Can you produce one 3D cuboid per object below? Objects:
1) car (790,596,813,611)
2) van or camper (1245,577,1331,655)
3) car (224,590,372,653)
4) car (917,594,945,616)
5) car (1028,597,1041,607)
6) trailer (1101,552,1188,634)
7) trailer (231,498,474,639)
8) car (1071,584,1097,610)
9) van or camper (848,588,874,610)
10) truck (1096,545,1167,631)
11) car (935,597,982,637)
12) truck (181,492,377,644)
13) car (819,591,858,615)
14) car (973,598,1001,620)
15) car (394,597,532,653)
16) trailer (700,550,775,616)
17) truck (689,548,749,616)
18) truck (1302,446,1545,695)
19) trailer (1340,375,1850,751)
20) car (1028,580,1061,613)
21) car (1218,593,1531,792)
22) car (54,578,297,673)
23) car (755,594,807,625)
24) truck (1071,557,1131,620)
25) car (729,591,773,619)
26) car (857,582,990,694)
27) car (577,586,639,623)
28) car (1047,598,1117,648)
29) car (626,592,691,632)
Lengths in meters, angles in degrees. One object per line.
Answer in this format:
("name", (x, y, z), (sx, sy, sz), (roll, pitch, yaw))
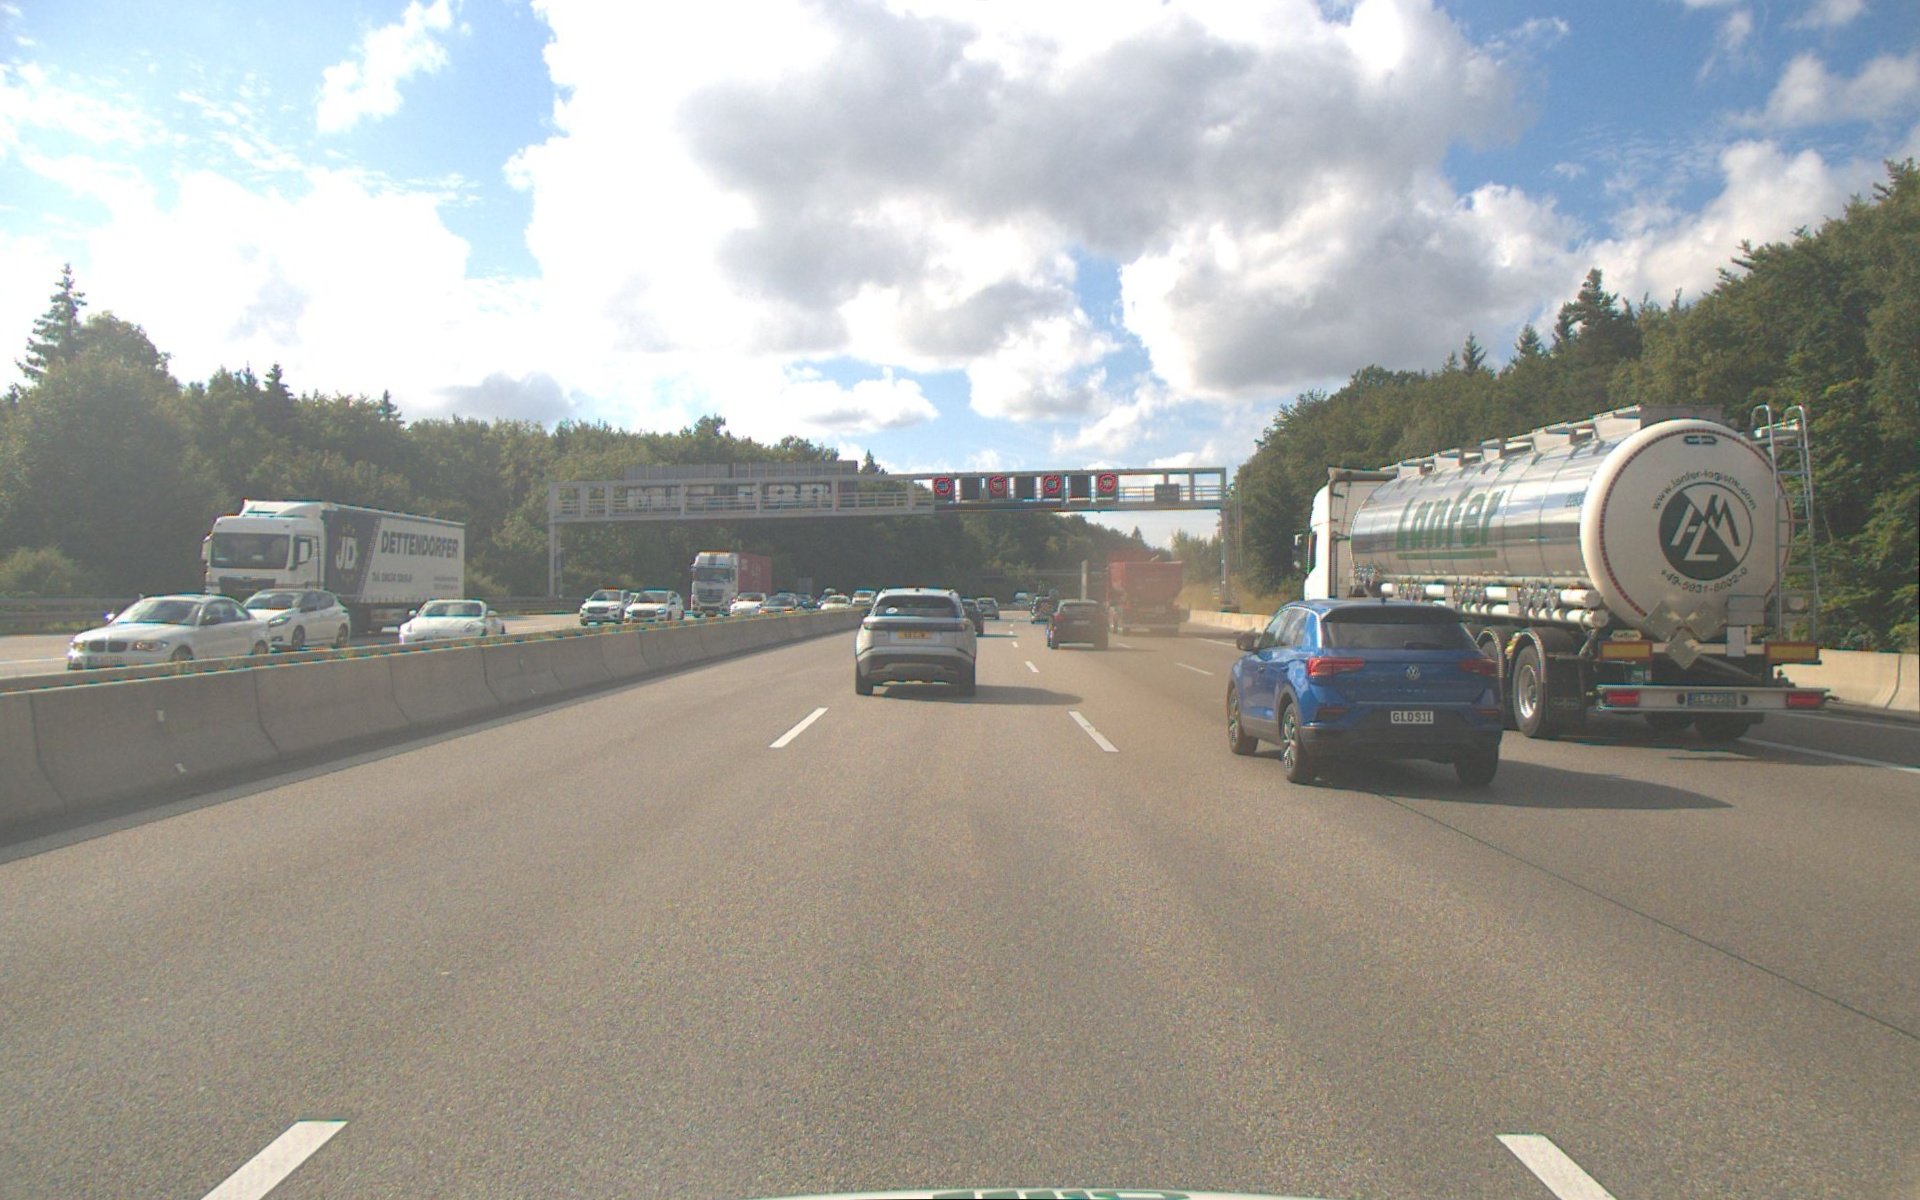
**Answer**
("car", (-16.147, 0.318, 168.704), (1.666, 1.466, 4.709), (1, 0, 2))
("van or camper", (10.253, 0.469, 52.064), (1.785, 2.348, 4.939), (0, 0, 1))
("car", (-16.387, 0.498, 41.231), (1.774, 1.478, 4.800), (1, 0, -1))
("car", (-2.022, 0.310, 115.308), (1.902, 1.483, 4.000), (-1, 0, 0))
("car", (11.097, 0.281, 246.502), (2.033, 1.483, 4.001), (-1, 0, 2))
("trailer", (7.907, -0.315, 72.023), (2.654, 3.288, 9.732), (1, 0, 0))
("trailer", (-20.112, -0.953, 56.150), (3.250, 4.178, 14.151), (0, 0, -1))
("car", (9.328, -0.214, 124.688), (1.854, 1.889, 4.102), (1, 0, 3))
("van or camper", (-8.927, -0.091, 149.385), (1.823, 1.882, 5.156), (1, 0, 2))
("truck", (7.897, -0.562, 76.902), (2.654, 3.783, 5.817), (1, 0, 0))
("car", (-0.033, 0.657, 67.056), (1.784, 1.573, 4.001), (0, 0, 1))
("truck", (-19.965, -0.907, 48.934), (3.250, 4.178, 6.224), (0, 0, -1))
("car", (-7.697, 0.183, 105.174), (1.733, 1.467, 4.853), (1, 0, 4))
("car", (1.867, 0.644, 113.954), (1.784, 1.483, 4.001), (1, 0, 2))
("car", (-11.395, 0.540, 38.203), (1.774, 1.181, 4.515), (1, 0, 1))
("trailer", (-14.838, -1.116, 111.504), (2.682, 4.178, 13.421), (0, 0, 2))
("truck", (-15.135, -1.102, 104.112), (2.682, 4.178, 5.766), (0, 0, 2))
("truck", (7.883, -0.476, 28.923), (2.594, 3.890, 6.082), (0, 0, 1))
("trailer", (7.855, -0.404, 22.833), (2.594, 3.833, 11.861), (0, 0, 1))
("car", (5.007, -0.207, 97.903), (1.854, 1.889, 4.102), (1, 0, 3))
("car", (3.631, 0.724, 15.309), (1.737, 1.557, 4.457), (0, 0, -1))
("car", (-12.911, 0.382, 27.570), (1.646, 1.421, 4.716), (0, 0, 2))
("car", (-8.580, 0.432, 79.660), (1.952, 1.386, 4.620), (1, 0, 0))
("truck", (9.437, -0.765, 111.846), (3.055, 4.003, 10.409), (0, 0, -1))
("car", (-11.937, 0.273, 94.627), (1.819, 1.552, 4.995), (0, 0, 1))
("car", (-0.573, 0.560, 27.433), (1.965, 1.644, 5.300), (1, 0, -1))
("car", (-16.405, 0.212, 77.303), (1.756, 1.646, 5.045), (0, 0, 1))
("car", (3.770, 0.686, 51.618), (1.785, 1.483, 3.999), (0, 0, -2))
("car", (-12.689, 0.482, 69.929), (1.673, 1.622, 4.944), (0, 0, 2))
